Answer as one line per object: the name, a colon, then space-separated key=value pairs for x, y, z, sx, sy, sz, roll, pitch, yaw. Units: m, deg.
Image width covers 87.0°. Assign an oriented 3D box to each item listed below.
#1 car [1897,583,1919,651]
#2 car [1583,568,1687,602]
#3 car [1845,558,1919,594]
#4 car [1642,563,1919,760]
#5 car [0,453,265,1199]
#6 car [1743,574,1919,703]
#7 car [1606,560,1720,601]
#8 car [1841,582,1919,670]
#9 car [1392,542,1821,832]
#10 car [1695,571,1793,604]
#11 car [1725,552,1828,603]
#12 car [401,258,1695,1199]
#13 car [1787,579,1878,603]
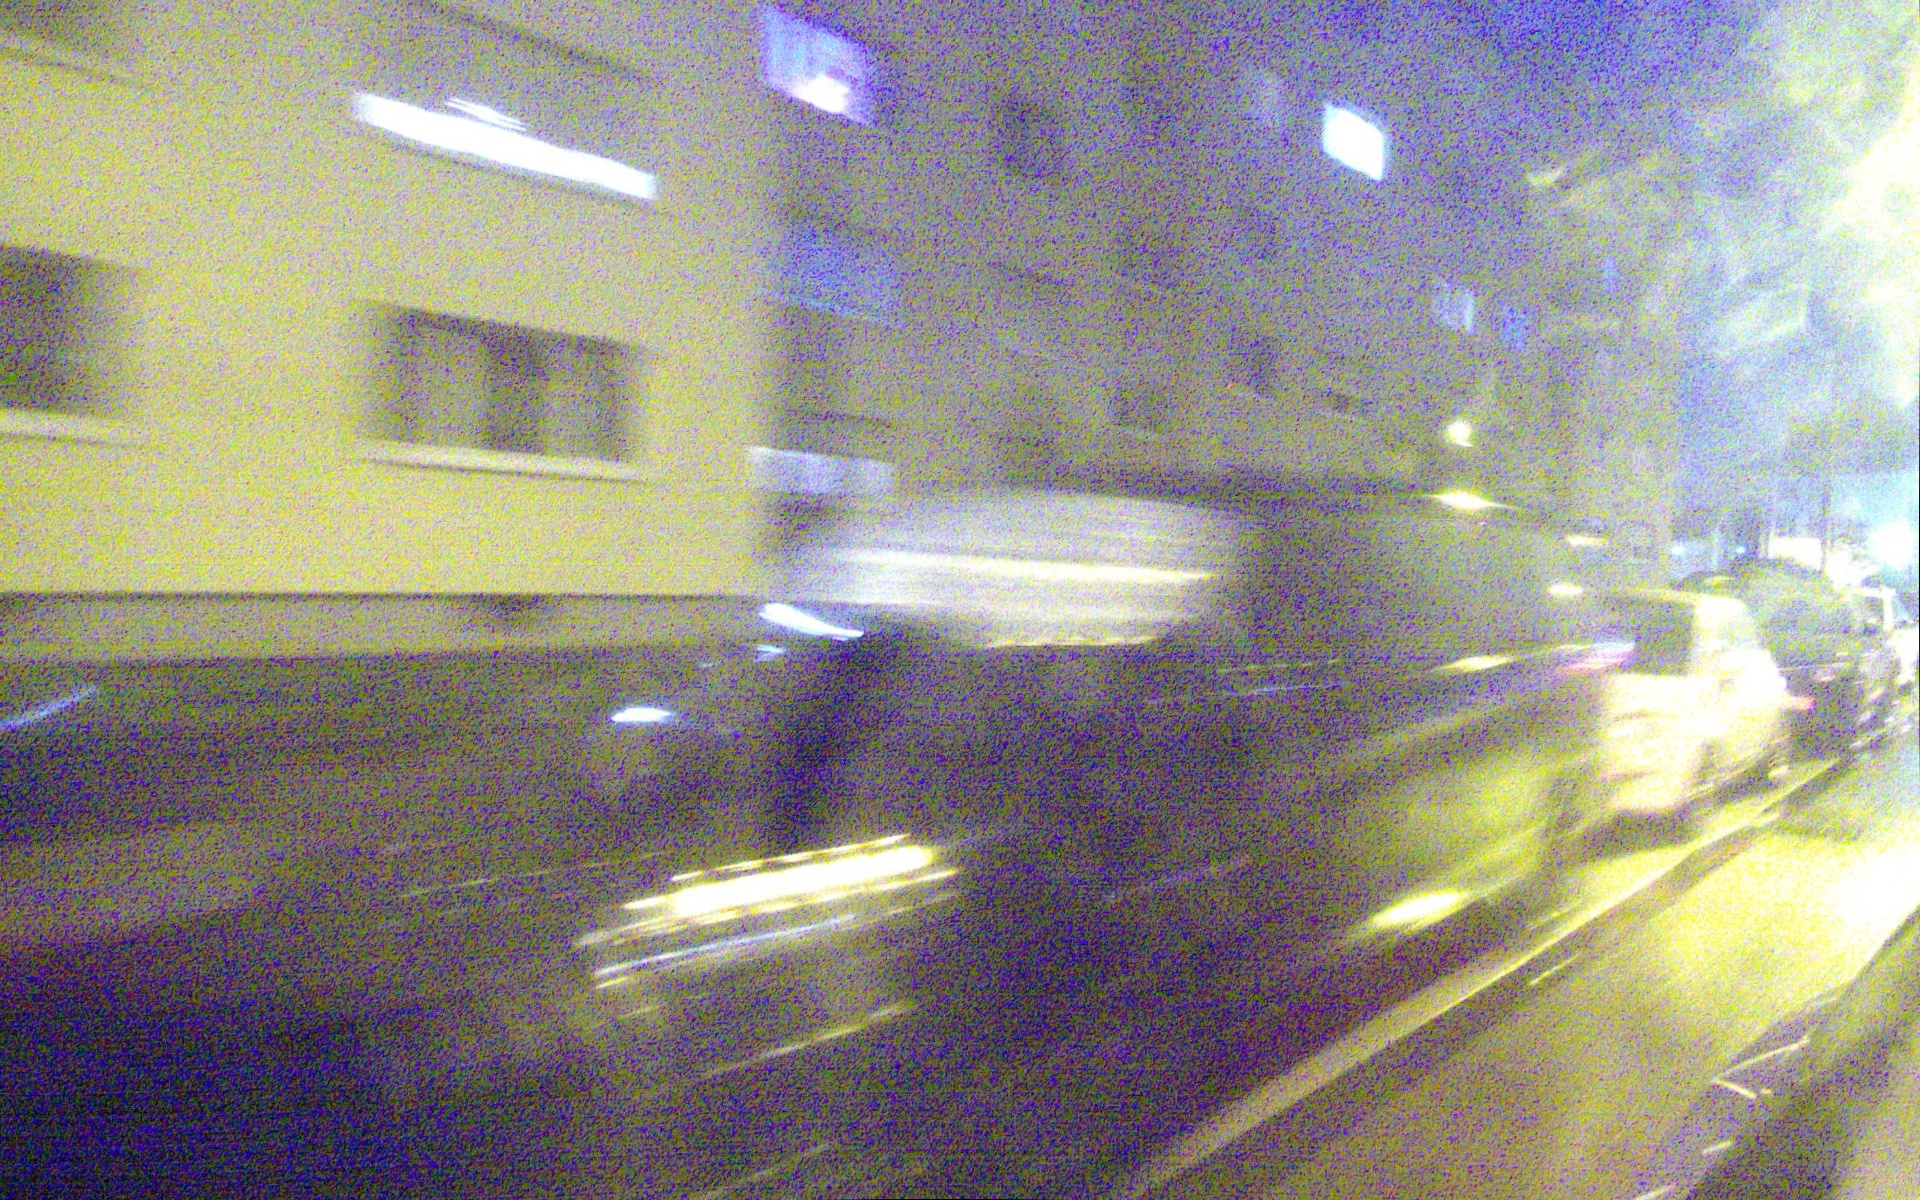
car: x=23.034 y=0.430 z=23.400 sx=3.883 sy=1.491 sz=1.607 roll=0 pitch=3 yaw=-42
car: x=31.225 y=-0.698 z=46.875 sx=1.636 sy=1.357 sz=3.663 roll=1 pitch=3 yaw=-40
car: x=60.589 y=-1.579 z=65.917 sx=1.767 sy=2.195 sz=4.031 roll=1 pitch=3 yaw=-34
car: x=9.057 y=0.496 z=10.870 sx=4.669 sy=1.598 sz=1.870 roll=0 pitch=3 yaw=-44
car: x=-3.048 y=0.521 z=0.646 sx=4.060 sy=1.509 sz=1.797 roll=0 pitch=3 yaw=-44
car: x=13.024 y=0.475 z=14.861 sx=3.886 sy=1.566 sz=1.797 roll=0 pitch=3 yaw=-44
car: x=33.432 y=-0.953 z=48.242 sx=1.635 sy=1.727 sz=4.095 roll=1 pitch=3 yaw=-37
car: x=18.165 y=0.467 z=19.200 sx=3.886 sy=1.491 sz=1.797 roll=0 pitch=3 yaw=-44
car: x=4.994 y=0.449 z=7.596 sx=3.886 sy=1.566 sz=1.797 roll=0 pitch=3 yaw=-44
car: x=40.117 y=-0.641 z=51.836 sx=1.636 sy=1.474 sz=3.663 roll=1 pitch=3 yaw=-40
car: x=45.645 y=-1.285 z=56.630 sx=1.767 sy=2.650 sz=4.031 roll=1 pitch=3 yaw=-34
car: x=1.195 y=0.460 z=4.077 sx=5.757 sy=1.973 sz=1.797 roll=0 pitch=3 yaw=-44
car: x=55.449 y=-0.609 z=64.377 sx=1.767 sy=1.284 sz=4.031 roll=1 pitch=3 yaw=-34
